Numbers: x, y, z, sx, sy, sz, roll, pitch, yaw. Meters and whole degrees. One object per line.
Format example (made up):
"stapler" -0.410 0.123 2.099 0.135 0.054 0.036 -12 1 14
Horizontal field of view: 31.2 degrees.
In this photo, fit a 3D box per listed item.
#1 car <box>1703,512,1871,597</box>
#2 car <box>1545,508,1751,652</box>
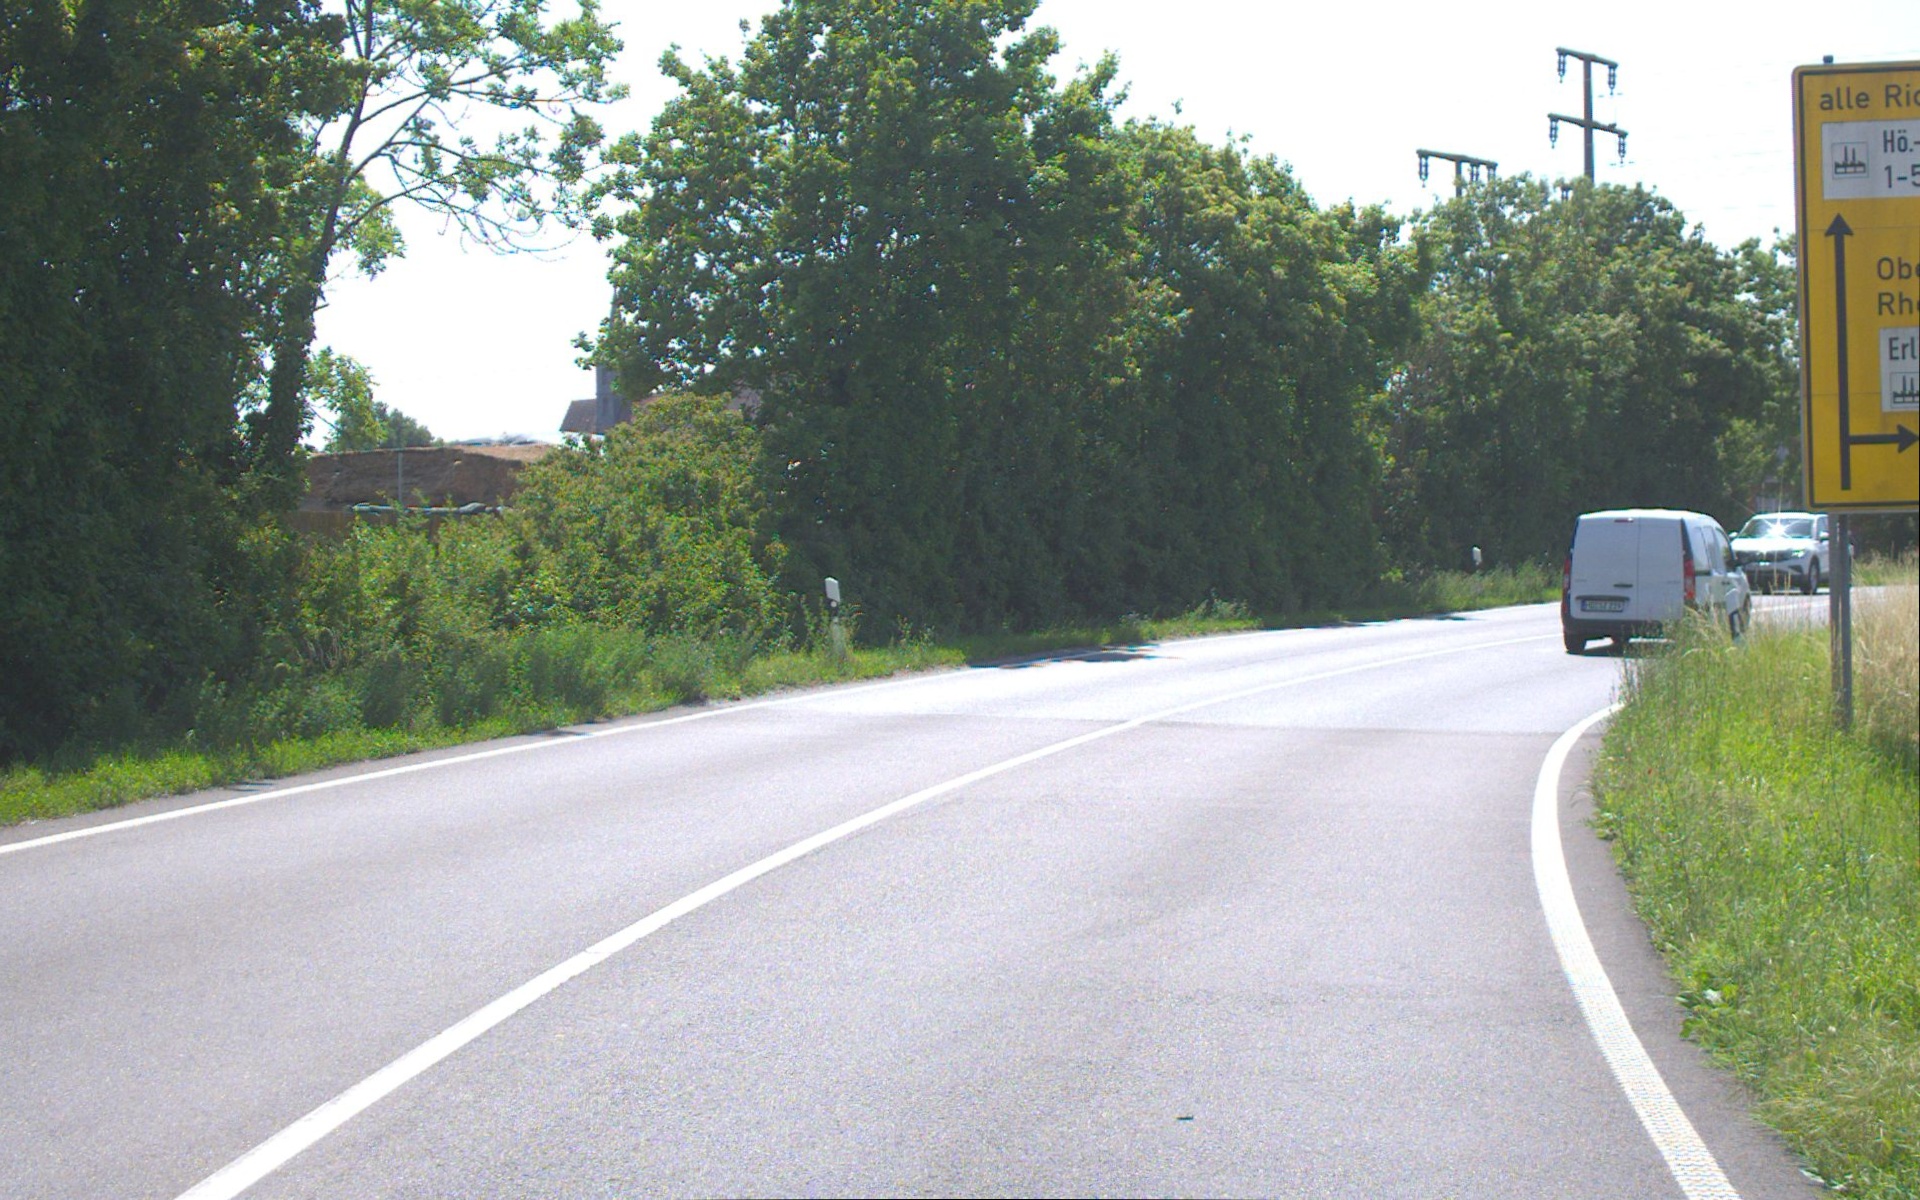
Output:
"car" 16.560 -0.929 68.697 1.858 1.596 4.769 2 2 31
"car" 8.798 -0.261 43.734 1.906 1.726 3.818 -1 0 21
